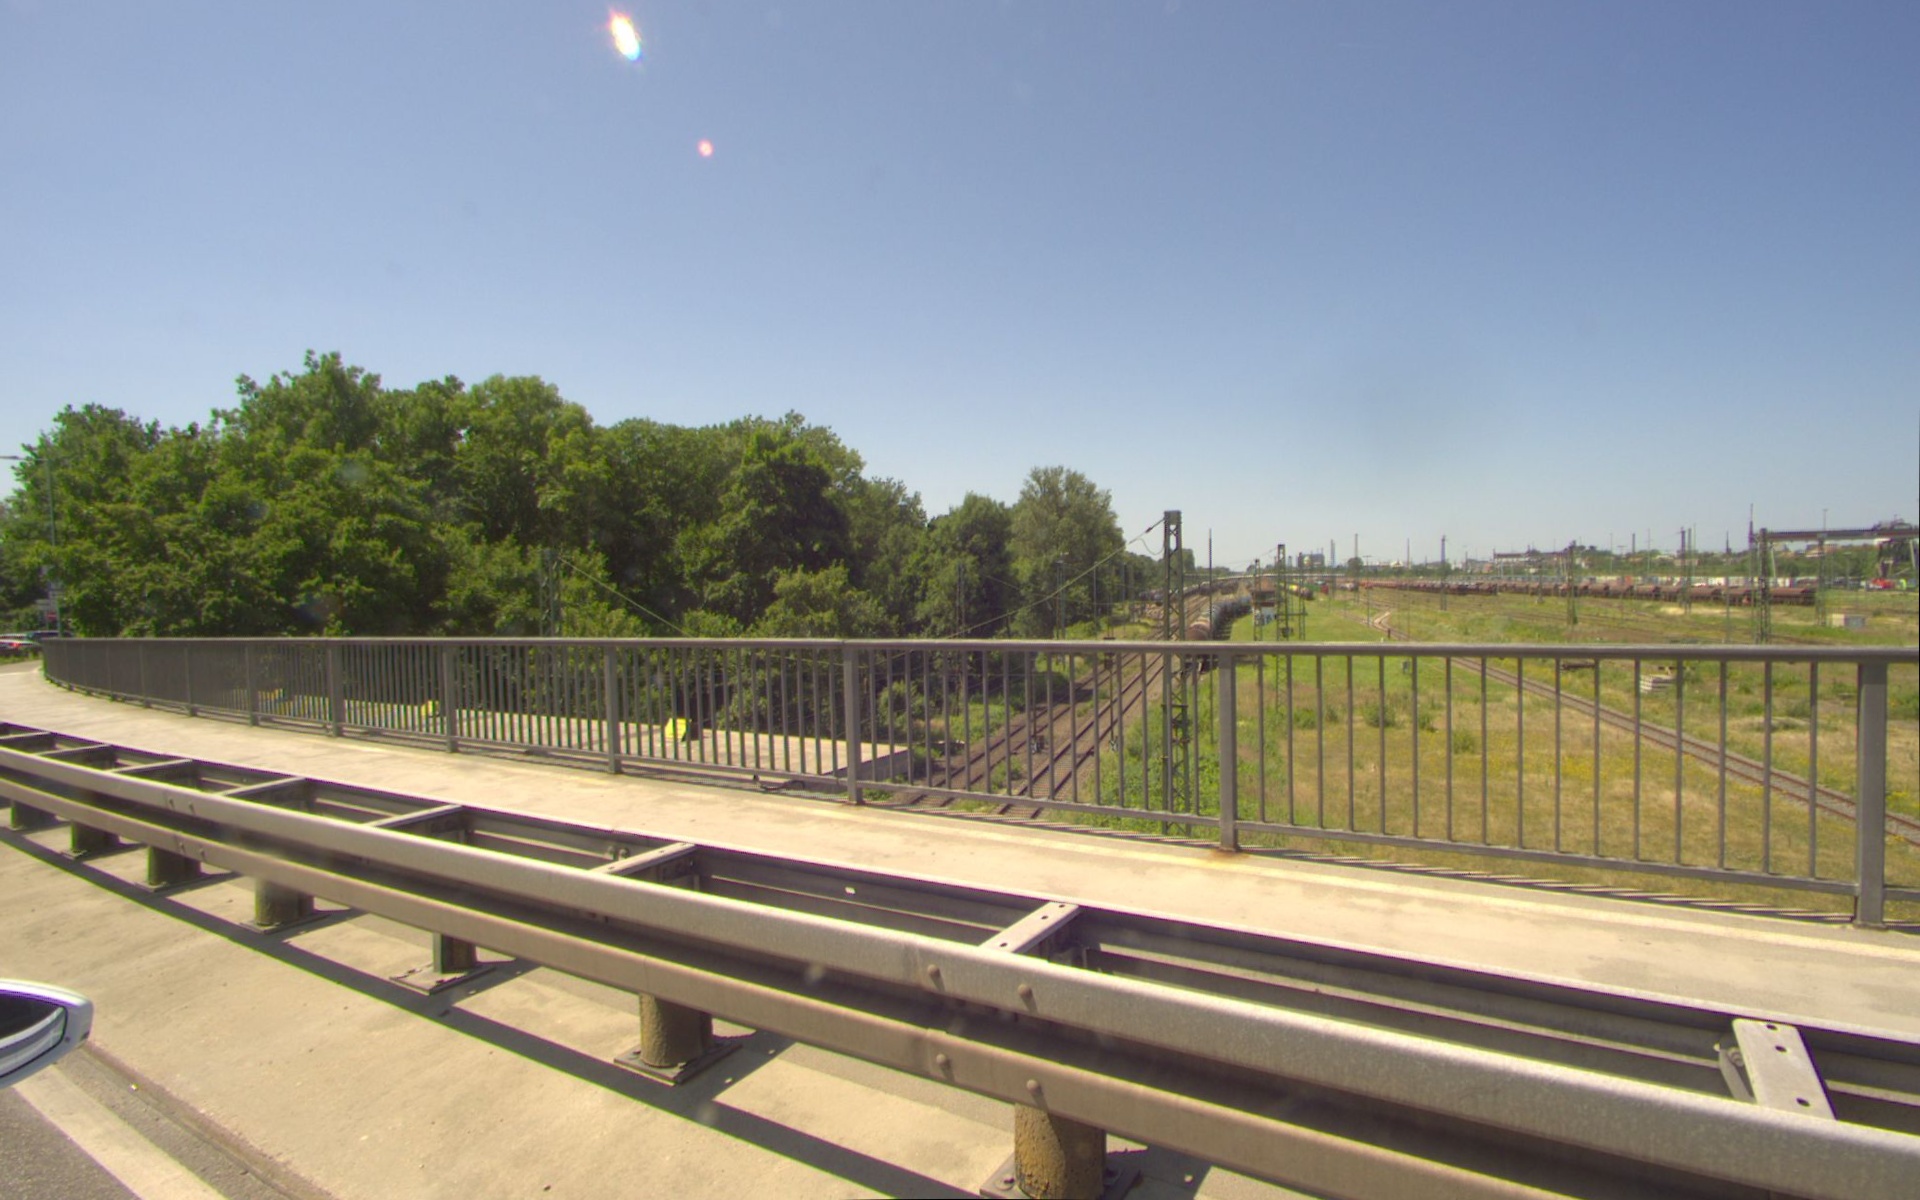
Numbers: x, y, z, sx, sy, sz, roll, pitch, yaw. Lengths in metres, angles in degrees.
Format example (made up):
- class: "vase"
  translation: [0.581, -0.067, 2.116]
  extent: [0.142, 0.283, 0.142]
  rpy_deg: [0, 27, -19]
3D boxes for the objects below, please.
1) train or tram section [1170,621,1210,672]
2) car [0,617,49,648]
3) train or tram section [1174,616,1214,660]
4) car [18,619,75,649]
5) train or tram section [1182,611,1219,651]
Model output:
- class: "train or tram section"
  translation: [24.648, 4.826, 106.974]
  extent: [3.781, 4.366, 13.612]
  rpy_deg: [-2, 1, 14]
- class: "car"
  translation: [-52.945, 1.856, 56.144]
  extent: [1.972, 1.594, 3.981]
  rpy_deg: [2, -4, -31]
- class: "train or tram section"
  translation: [28.196, 4.435, 120.156]
  extent: [3.783, 4.366, 13.605]
  rpy_deg: [-2, 1, 17]
- class: "car"
  translation: [-56.320, 2.123, 61.811]
  extent: [1.666, 1.783, 3.982]
  rpy_deg: [0, -2, -29]
- class: "train or tram section"
  translation: [32.089, 4.028, 133.162]
  extent: [3.783, 4.366, 13.603]
  rpy_deg: [-2, 1, 18]
